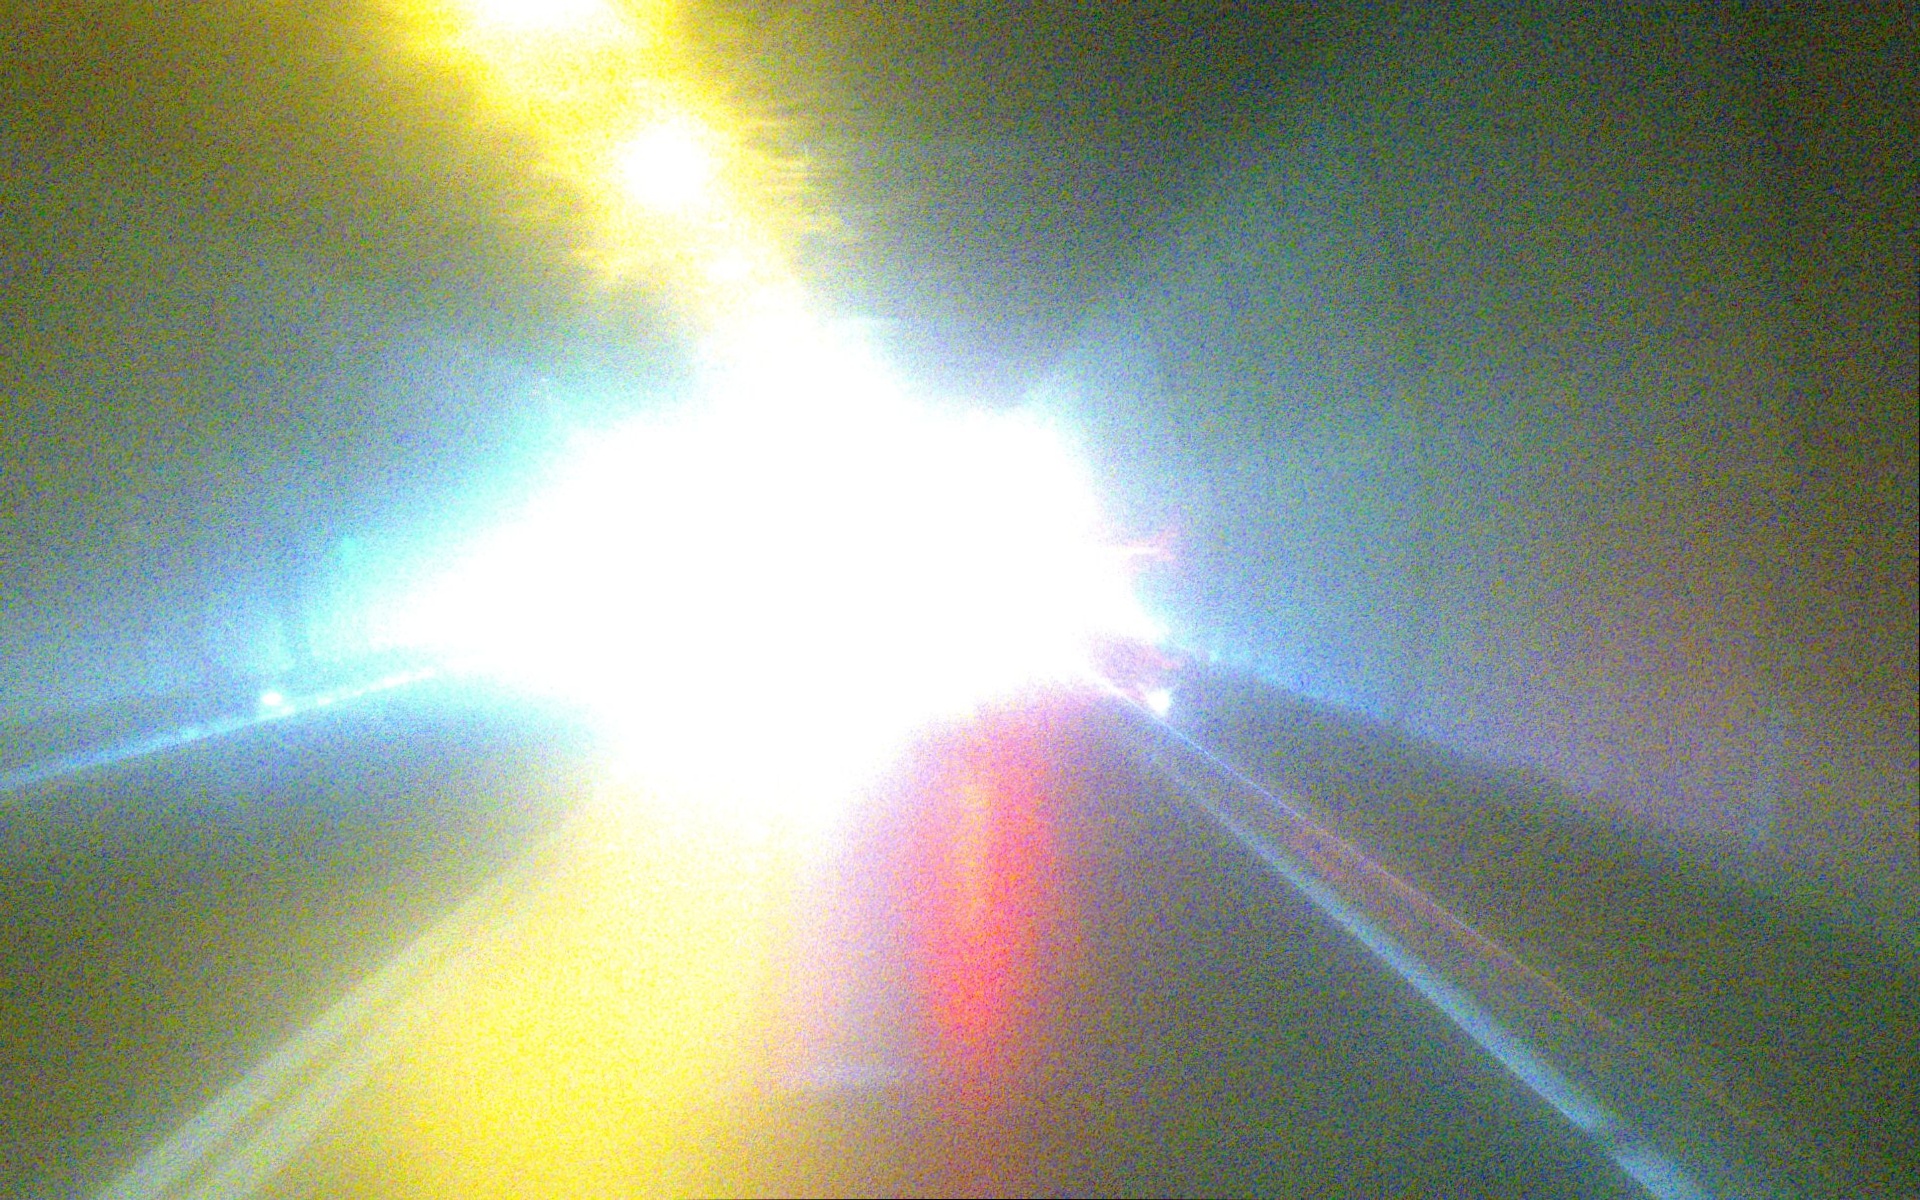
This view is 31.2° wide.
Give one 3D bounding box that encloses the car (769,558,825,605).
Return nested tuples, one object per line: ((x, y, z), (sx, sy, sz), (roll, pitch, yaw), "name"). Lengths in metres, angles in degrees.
((-5.247, -0.621, 111.286), (1.777, 1.404, 4.295), (0, 2, -2), "car")

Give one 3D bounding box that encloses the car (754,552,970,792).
((-0.739, 0.521, 28.226), (1.635, 1.751, 4.146), (0, 2, 0), "car")
